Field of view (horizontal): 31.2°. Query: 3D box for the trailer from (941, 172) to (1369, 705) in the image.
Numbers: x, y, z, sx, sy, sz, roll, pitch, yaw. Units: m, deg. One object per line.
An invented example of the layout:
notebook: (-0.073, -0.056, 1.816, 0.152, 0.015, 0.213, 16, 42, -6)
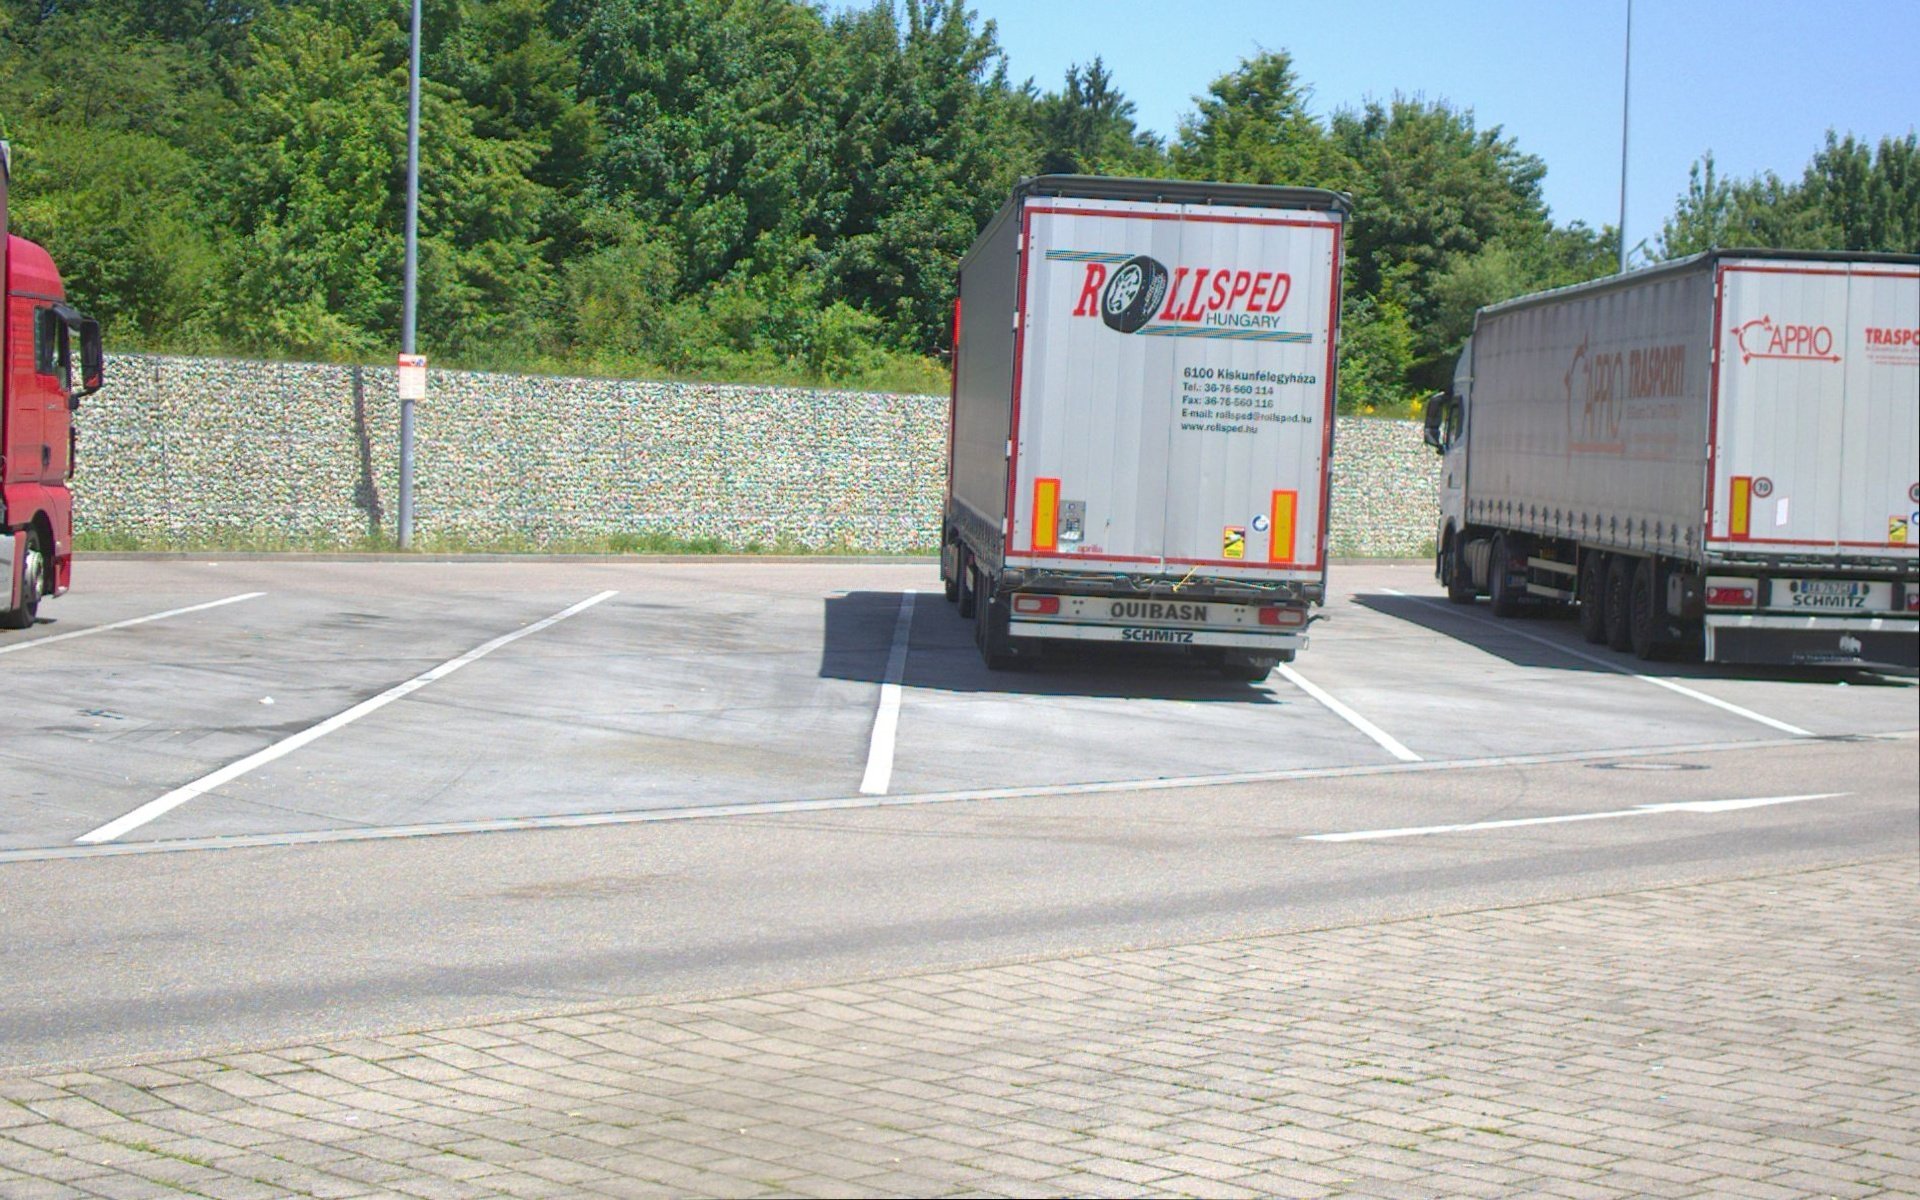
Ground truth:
trailer: (1.450, -1.569, 33.124, 2.858, 3.958, 13.765, 2, 3, -1)

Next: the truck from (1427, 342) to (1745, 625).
truck: (8.077, -1.571, 45.144, 2.865, 3.351, 5.975, 2, 3, -1)

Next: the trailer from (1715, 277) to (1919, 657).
trailer: (11.776, -1.505, 39.391, 2.858, 4.095, 13.765, 2, 3, -1)

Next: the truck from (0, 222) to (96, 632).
truck: (-9.260, -1.458, 28.201, 2.812, 3.351, 5.975, 2, 3, -1)

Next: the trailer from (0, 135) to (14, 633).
trailer: (-9.172, -1.467, 21.382, 2.821, 4.057, 13.765, 2, 3, -1)

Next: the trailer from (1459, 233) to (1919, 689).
trailer: (8.179, -1.590, 38.378, 2.858, 4.095, 13.765, 2, 3, -1)

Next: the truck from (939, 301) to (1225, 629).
truck: (1.266, -1.575, 39.325, 2.865, 3.351, 5.975, 2, 3, -1)
